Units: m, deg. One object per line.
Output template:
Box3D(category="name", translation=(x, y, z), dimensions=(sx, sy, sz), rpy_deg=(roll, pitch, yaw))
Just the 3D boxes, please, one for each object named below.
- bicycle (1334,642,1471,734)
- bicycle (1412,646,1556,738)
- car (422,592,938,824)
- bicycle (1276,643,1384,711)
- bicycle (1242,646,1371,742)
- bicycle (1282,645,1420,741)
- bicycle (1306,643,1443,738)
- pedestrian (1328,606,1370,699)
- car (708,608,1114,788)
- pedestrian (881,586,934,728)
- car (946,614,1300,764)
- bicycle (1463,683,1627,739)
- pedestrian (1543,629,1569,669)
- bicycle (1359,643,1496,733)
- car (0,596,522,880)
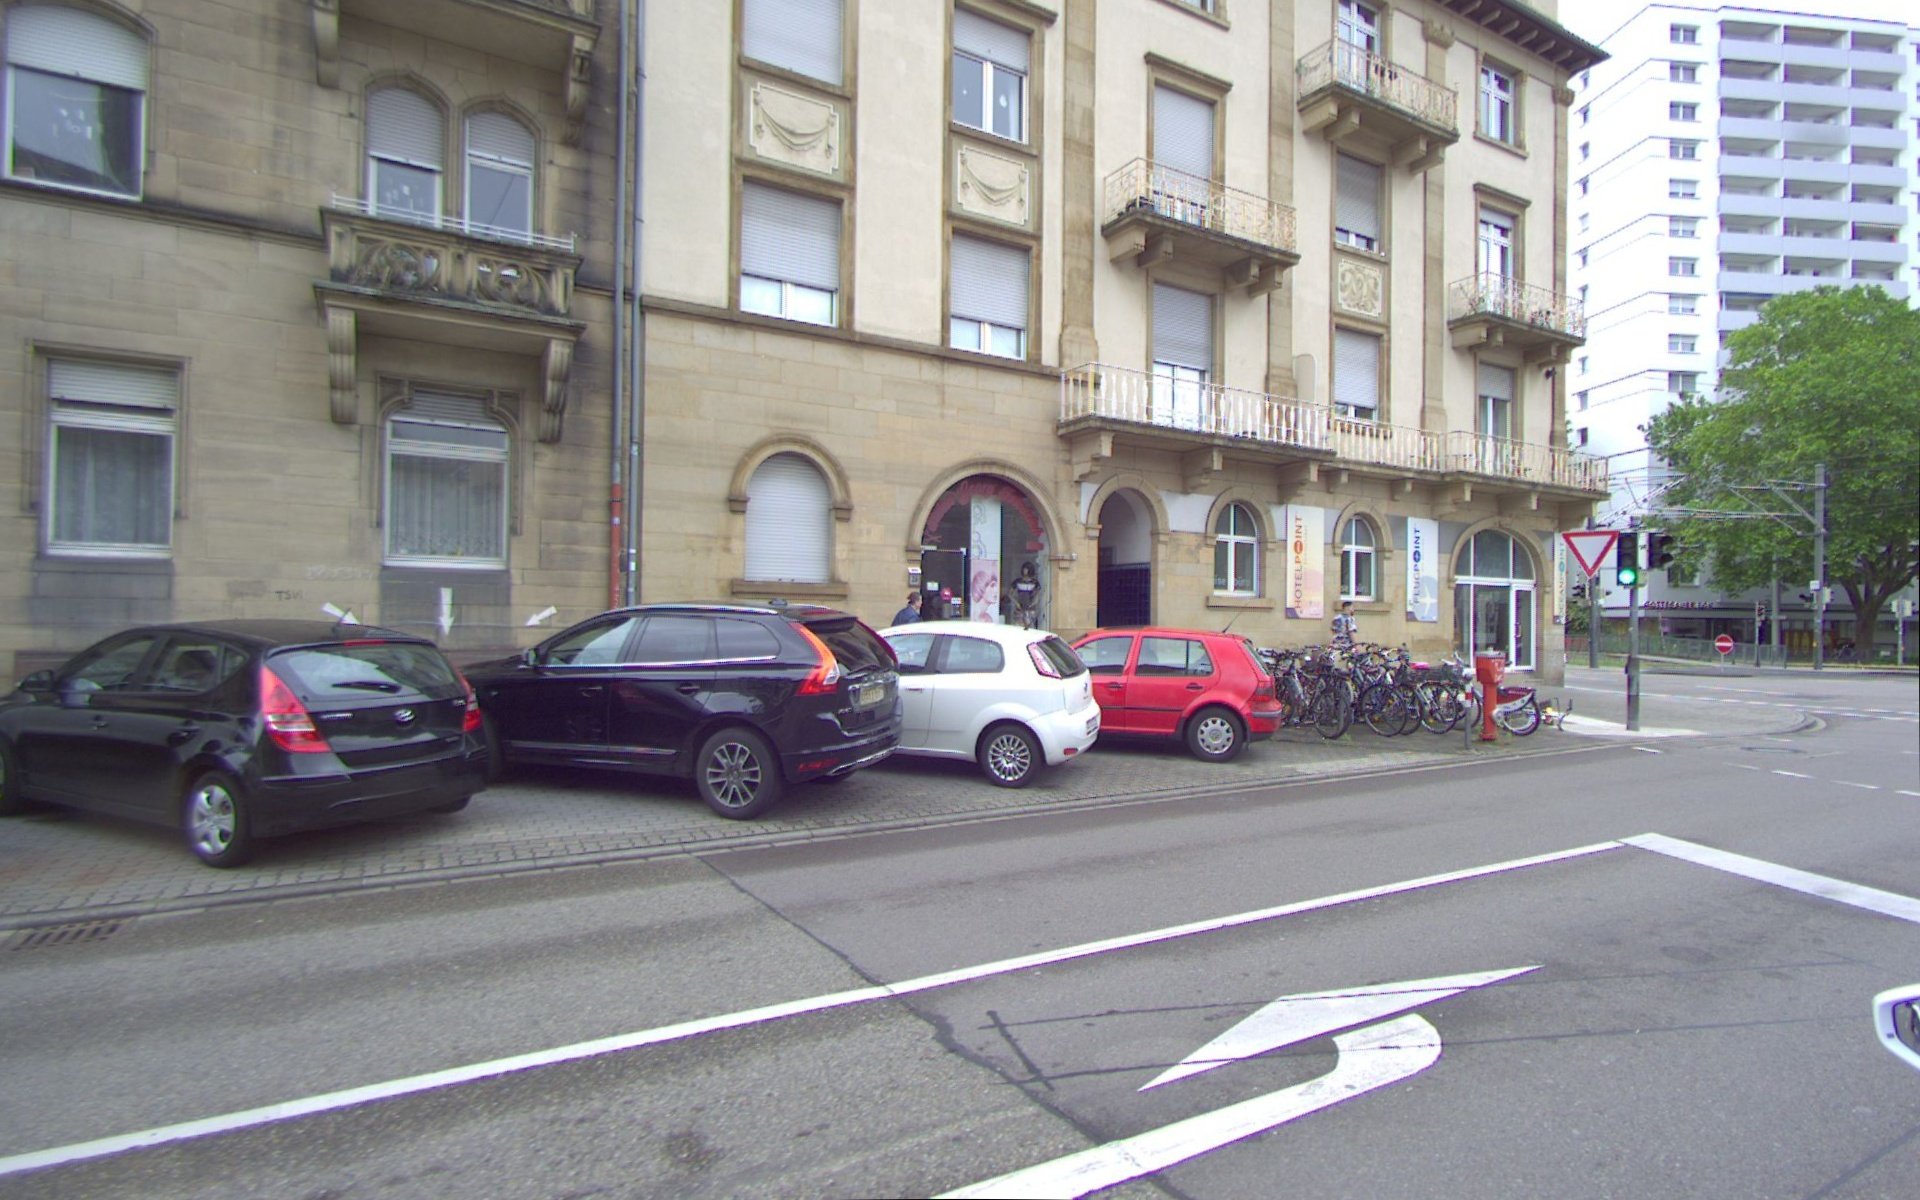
Box3D(category="bicycle", translation=(6.459, 1.252, 14.764), dimensions=(0.437, 1.050, 1.876), rpy_deg=(1, 4, -31))
Box3D(category="bicycle", translation=(7.719, 1.325, 14.890), dimensions=(0.437, 1.050, 1.876), rpy_deg=(1, 4, -31))
Box3D(category="car", translation=(-2.447, 0.816, 8.950), dimensions=(4.141, 1.673, 1.732), rpy_deg=(1, -1, 18))
Box3D(category="bicycle", translation=(5.990, 1.220, 16.230), dimensions=(1.973, 1.041, 0.499), rpy_deg=(1, -1, -30))
Box3D(category="bicycle", translation=(4.711, 1.245, 13.813), dimensions=(0.436, 1.050, 1.879), rpy_deg=(1, 3, -26))
Box3D(category="bicycle", translation=(5.451, 1.264, 14.140), dimensions=(0.437, 1.050, 1.876), rpy_deg=(1, 4, -31))
Box3D(category="bicycle", translation=(5.902, 1.258, 14.419), dimensions=(0.437, 1.050, 1.876), rpy_deg=(1, 4, -31))
Box3D(category="pedestrian", translation=(7.678, 1.027, 19.815), dimensions=(0.544, 1.809, 0.564), rpy_deg=(1, -1, -28))
Box3D(category="car", translation=(-0.492, 0.906, 10.554), dimensions=(3.920, 1.492, 1.565), rpy_deg=(2, 1, 18))
Box3D(category="pedestrian", translation=(-0.758, 0.807, 14.490), dimensions=(0.544, 1.984, 0.616), rpy_deg=(1, -1, -28))
Box3D(category="car", translation=(1.944, 0.986, 12.181), dimensions=(3.919, 1.492, 1.685), rpy_deg=(1, 1, 12))
Box3D(category="bicycle", translation=(8.759, 1.644, 15.114), dimensions=(1.017, 0.451, 1.876), rpy_deg=(0, 5, -31))
Box3D(category="pedestrian", translation=(24.210, 1.984, 40.801), dimensions=(0.577, 1.624, 0.733), rpy_deg=(1, -1, -6))
Box3D(category="bicycle", translation=(6.984, 1.285, 15.112), dimensions=(0.437, 1.050, 1.876), rpy_deg=(1, 4, -31))
Box3D(category="car", translation=(-5.407, 0.806, 7.453), dimensions=(3.923, 1.514, 1.730), rpy_deg=(2, 1, 24))
